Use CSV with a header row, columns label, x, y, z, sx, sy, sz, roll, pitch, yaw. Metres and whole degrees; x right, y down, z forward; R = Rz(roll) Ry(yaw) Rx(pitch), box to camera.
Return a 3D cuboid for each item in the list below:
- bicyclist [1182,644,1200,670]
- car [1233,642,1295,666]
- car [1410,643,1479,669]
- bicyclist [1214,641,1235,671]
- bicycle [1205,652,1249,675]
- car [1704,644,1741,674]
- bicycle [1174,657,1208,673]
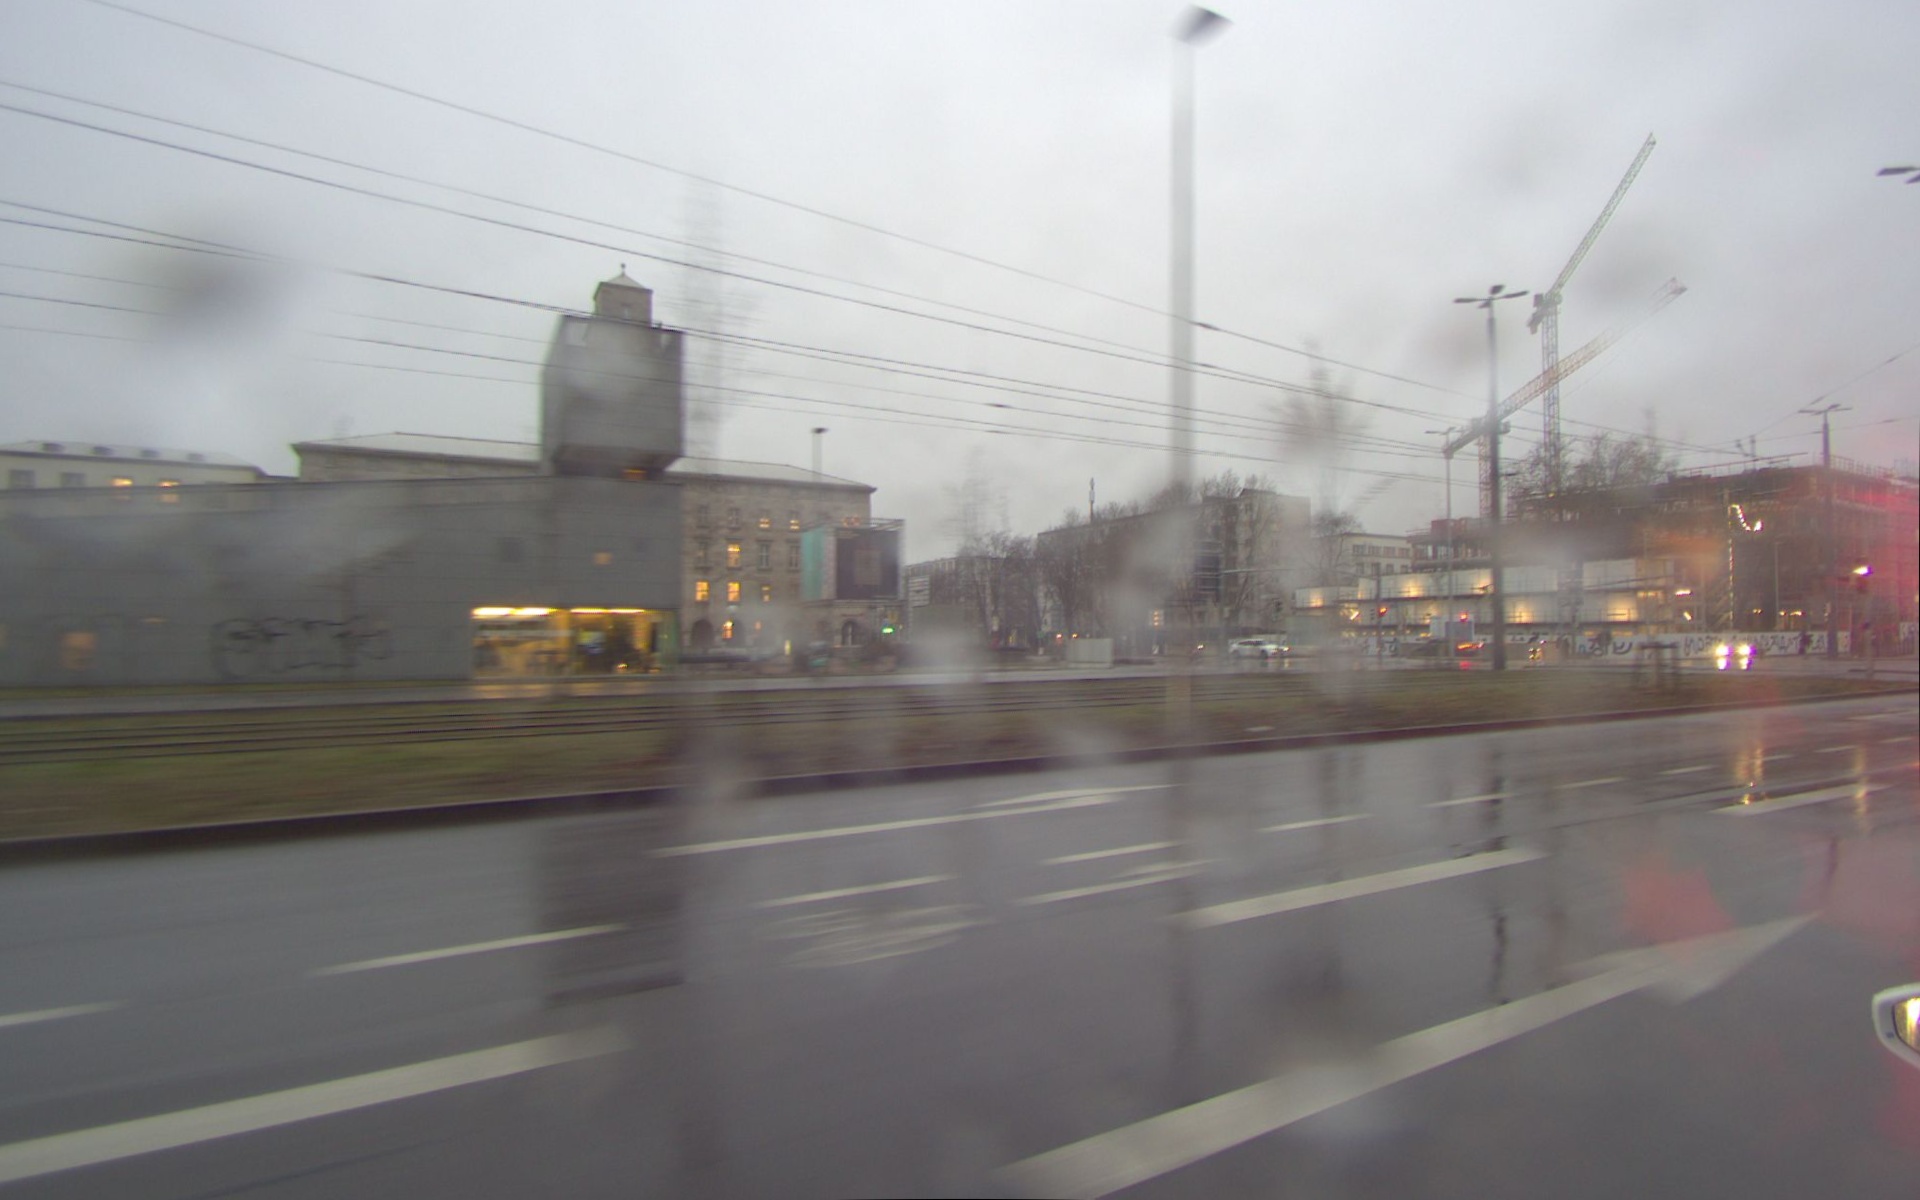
label,x,y,z,sx,sy,sz,roll,pitch,yaw
bicyclist,15.246,3.778,66.296,0.611,1.719,1.027,1,-3,-35
car,21.970,3.910,72.665,1.977,1.706,3.967,1,-3,-31
car,34.068,3.908,70.703,1.980,1.772,3.962,1,-3,-35
bicyclist,16.501,3.474,62.586,0.714,1.863,0.986,1,-4,-37
bicycle,16.579,3.961,62.486,0.714,1.380,2.811,1,-4,-37
car,54.815,4.229,72.189,1.737,2.040,3.978,-3,-3,42
bicycle,15.231,4.296,66.260,0.611,1.046,2.358,1,-3,-34
